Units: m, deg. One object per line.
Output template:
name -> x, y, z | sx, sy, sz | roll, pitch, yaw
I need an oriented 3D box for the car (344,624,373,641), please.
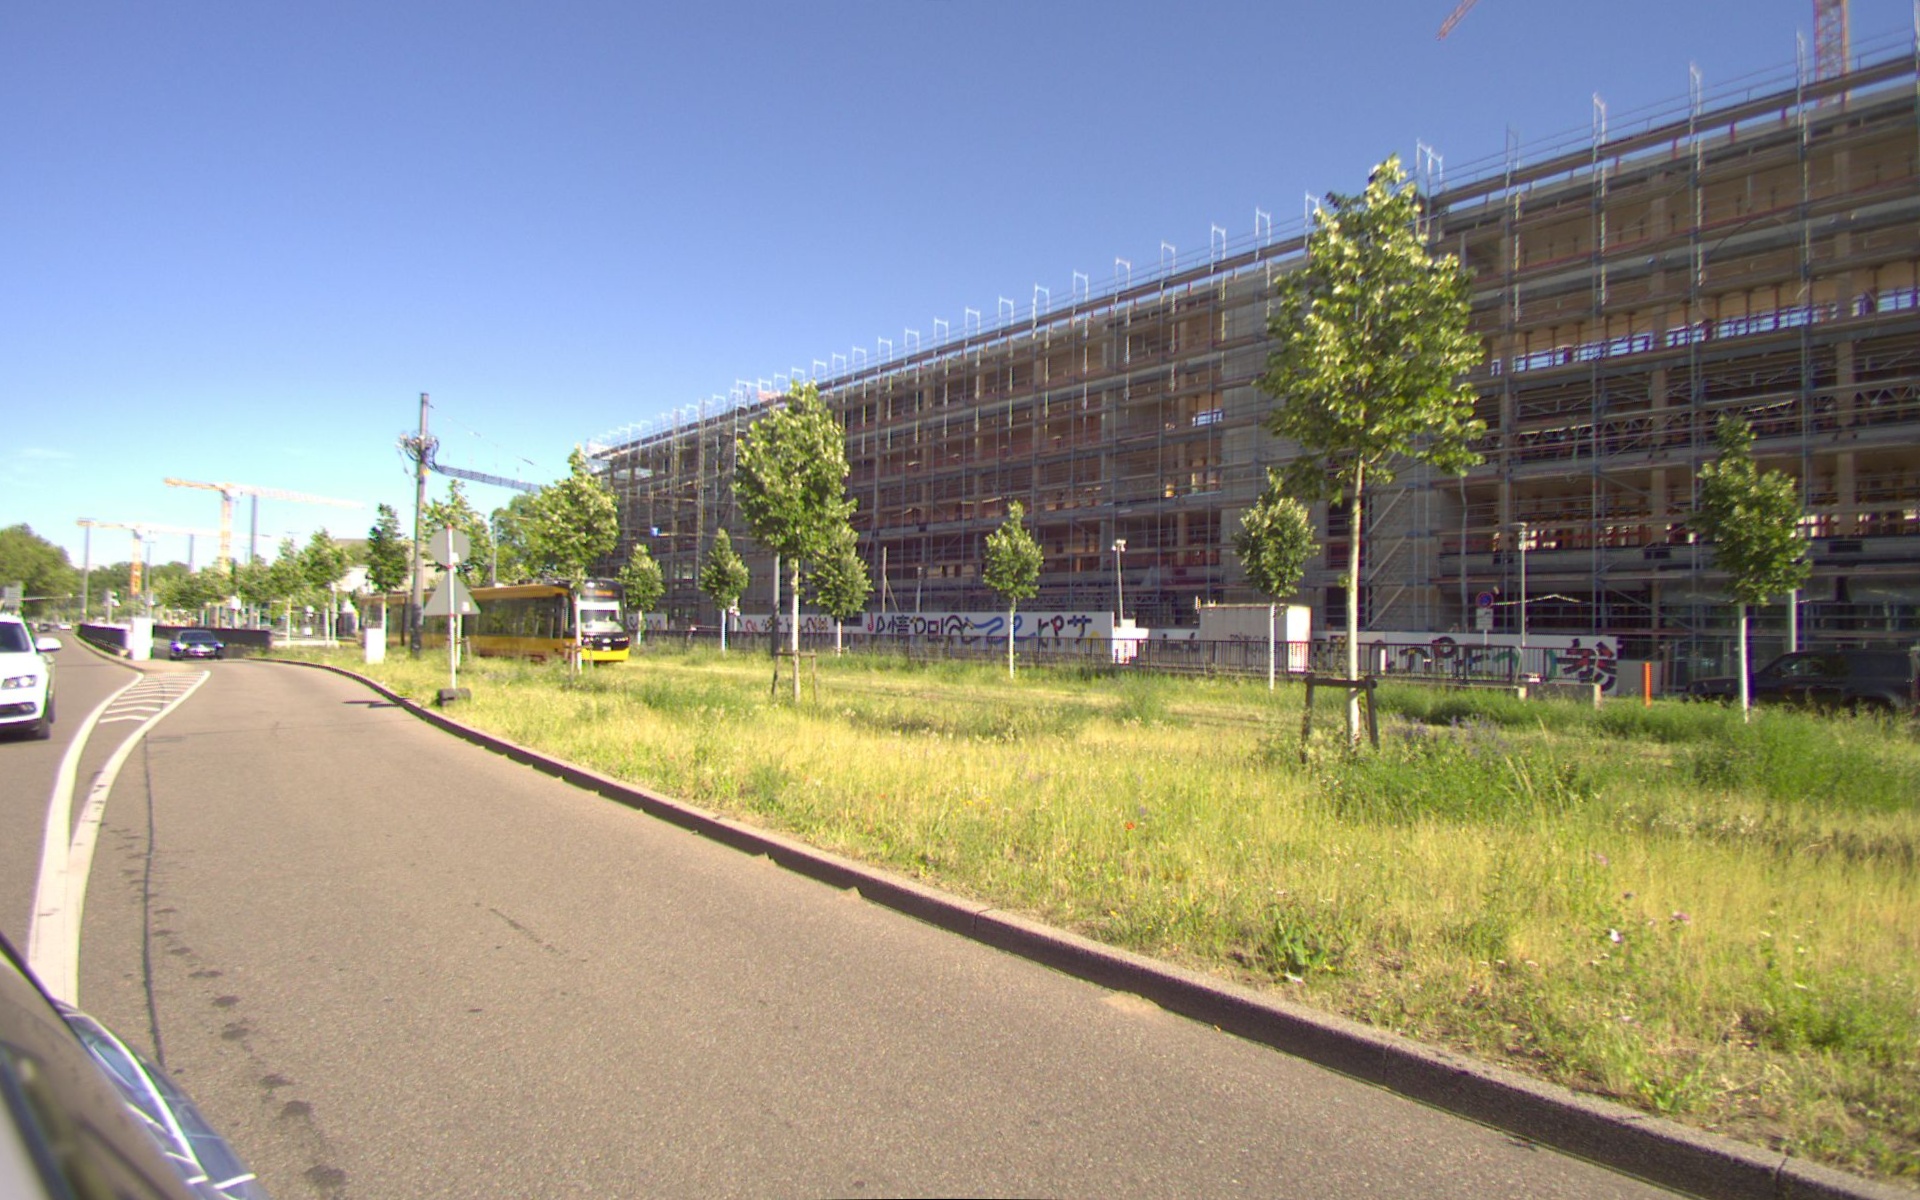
car -> -77.840, 4.243, 130.926 | 2.304, 2.175, 4.402 | 2, -3, -43

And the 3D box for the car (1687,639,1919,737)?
car -> 18.940, 1.866, 22.379 | 1.885, 1.933, 4.334 | 2, -3, -41

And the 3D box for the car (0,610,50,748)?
car -> -13.146, 0.974, 13.149 | 1.905, 1.646, 4.005 | 1, -1, -41

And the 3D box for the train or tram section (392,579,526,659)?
train or tram section -> -26.032, 1.016, 52.069 | 2.781, 3.666, 12.805 | 3, -3, -42

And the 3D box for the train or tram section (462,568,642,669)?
train or tram section -> -17.482, 0.807, 42.508 | 2.781, 3.666, 12.805 | 3, -3, -42

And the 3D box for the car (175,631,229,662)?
car -> -37.966, 2.323, 50.631 | 1.899, 1.454, 4.184 | 3, -3, -40

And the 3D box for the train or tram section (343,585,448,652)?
train or tram section -> -34.538, 1.159, 61.549 | 2.781, 3.666, 12.805 | 3, -3, -42
